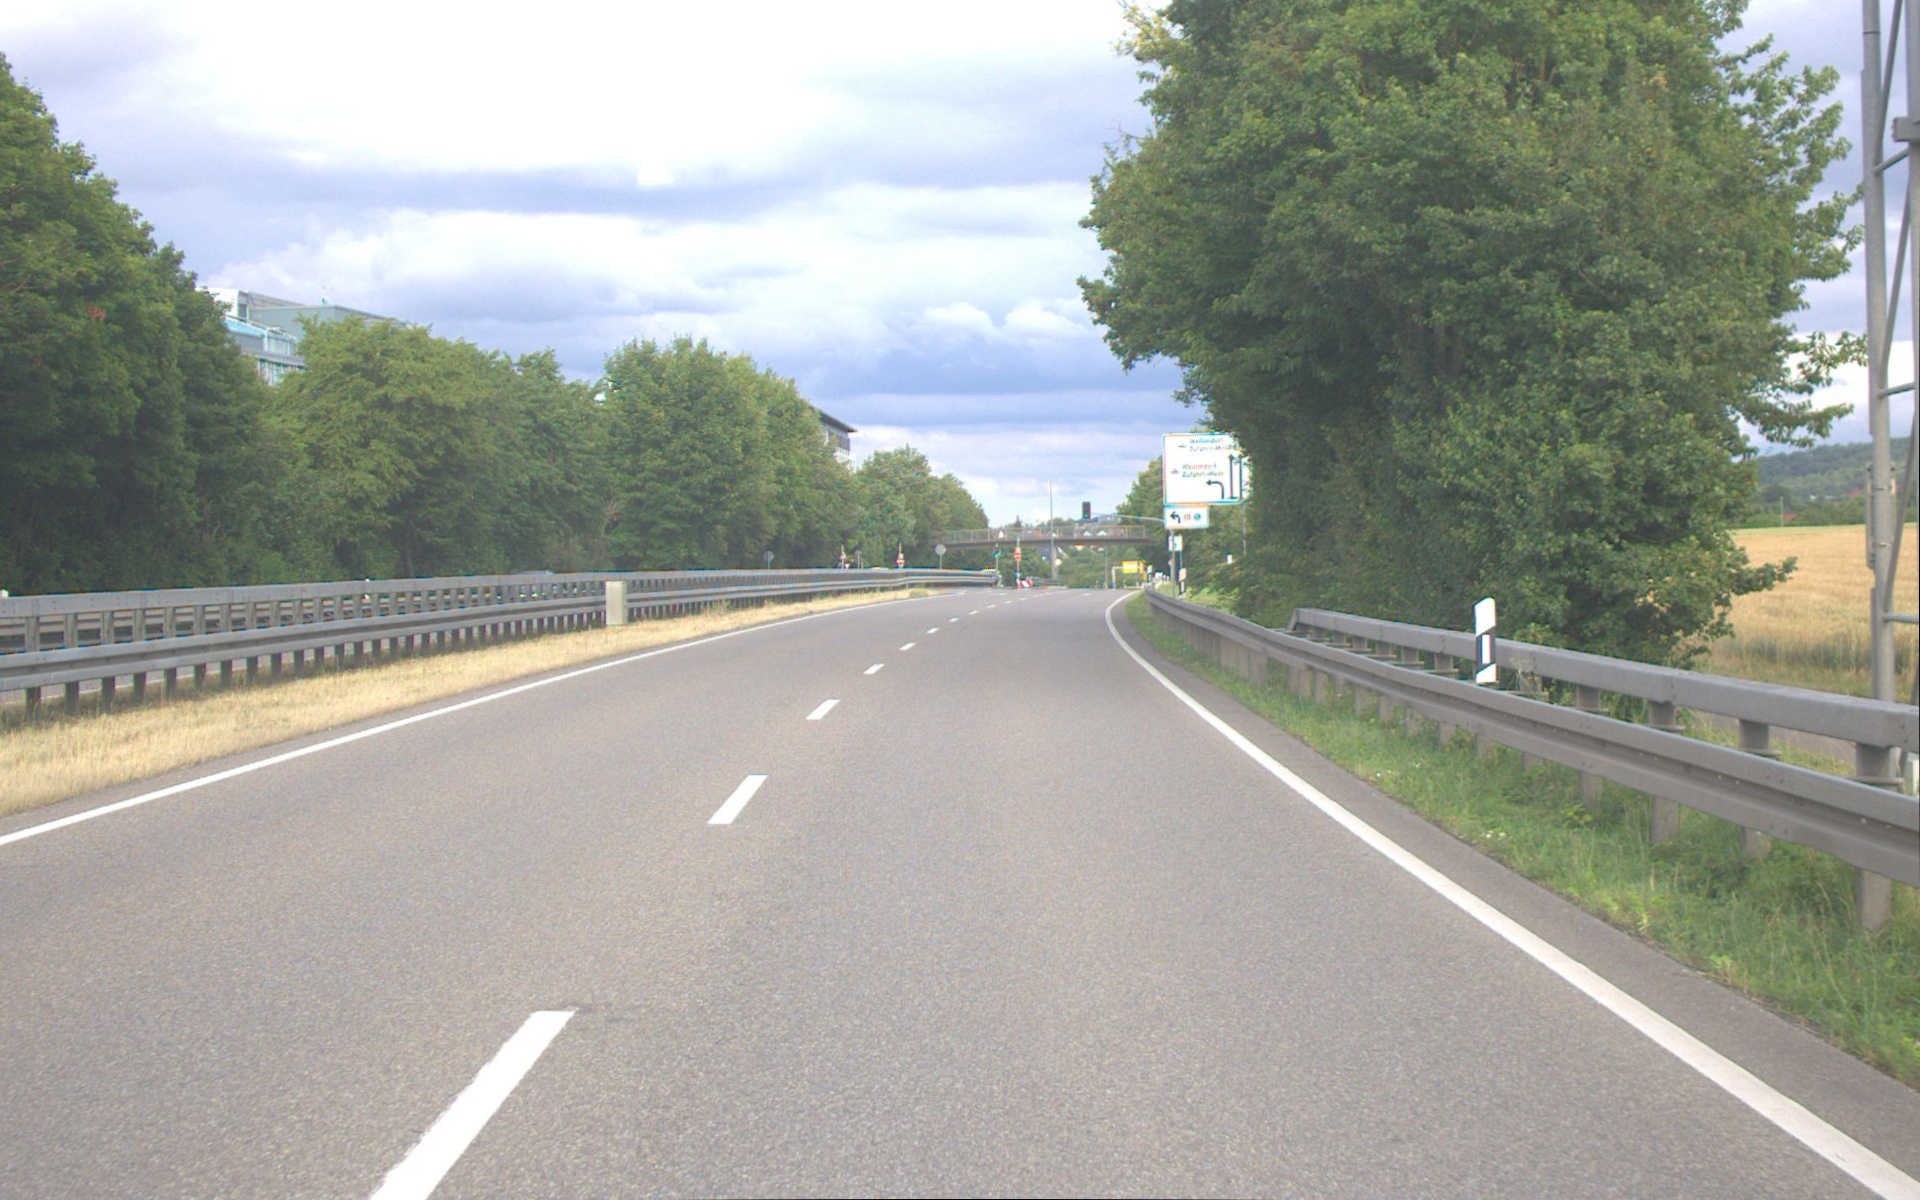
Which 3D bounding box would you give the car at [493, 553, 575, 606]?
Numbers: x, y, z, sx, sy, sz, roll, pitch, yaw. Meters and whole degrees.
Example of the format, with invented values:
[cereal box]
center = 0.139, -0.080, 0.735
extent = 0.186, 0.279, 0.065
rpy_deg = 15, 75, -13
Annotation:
[car]
center = -13.228, -0.645, 106.943
extent = 1.824, 1.539, 4.587
rpy_deg = -2, 1, 1
